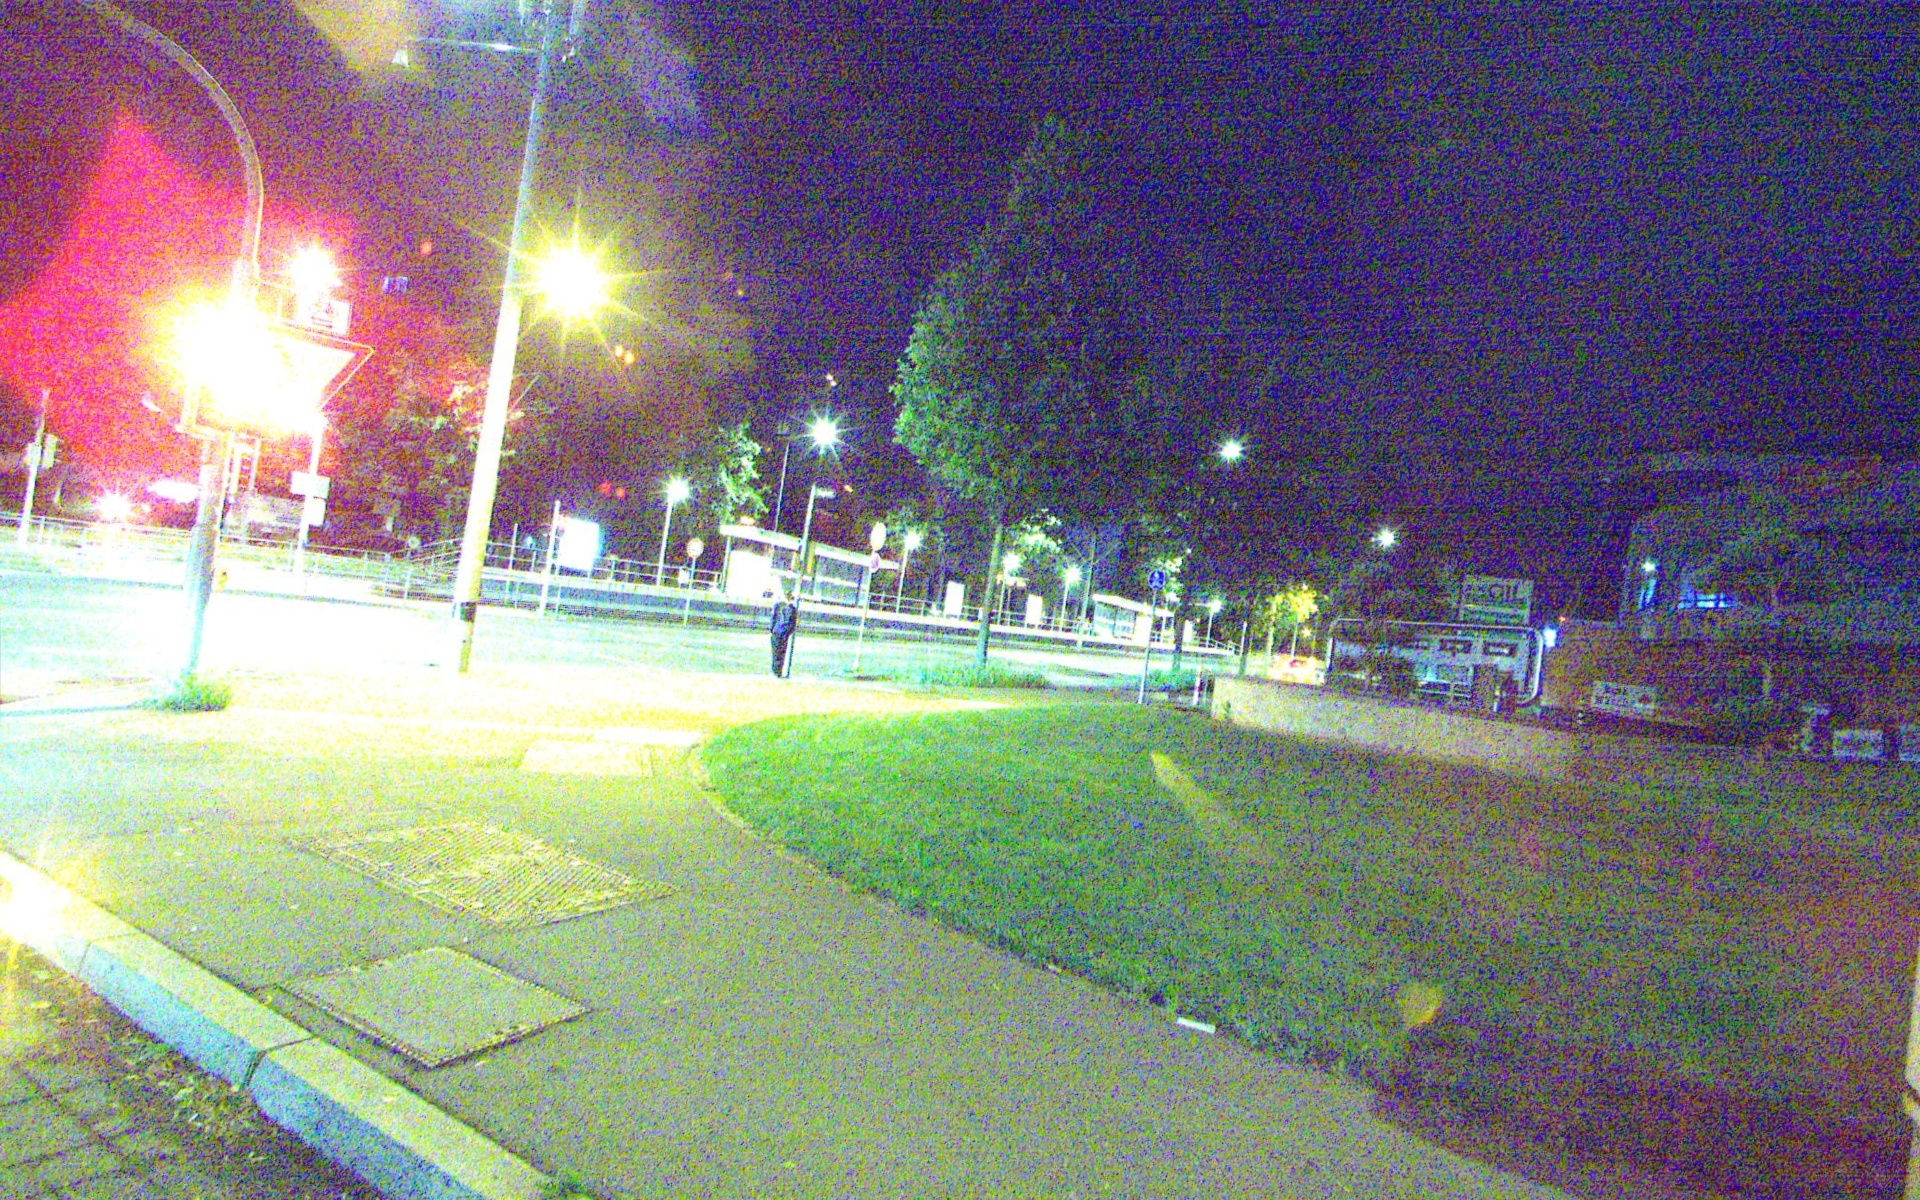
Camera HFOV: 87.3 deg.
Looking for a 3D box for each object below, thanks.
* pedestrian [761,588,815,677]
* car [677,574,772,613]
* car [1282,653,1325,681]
[{"bbox_3d":[-3.350,0.626,19.594,0.867,1.677,0.835,2,1,-18],"label":"pedestrian"},{"bbox_3d":[-11.614,-0.287,49.929,1.822,1.437,4.429,6,-1,35],"label":"car"},{"bbox_3d":[22.406,4.416,65.596,1.631,1.492,3.880,10,1,32],"label":"car"}]
